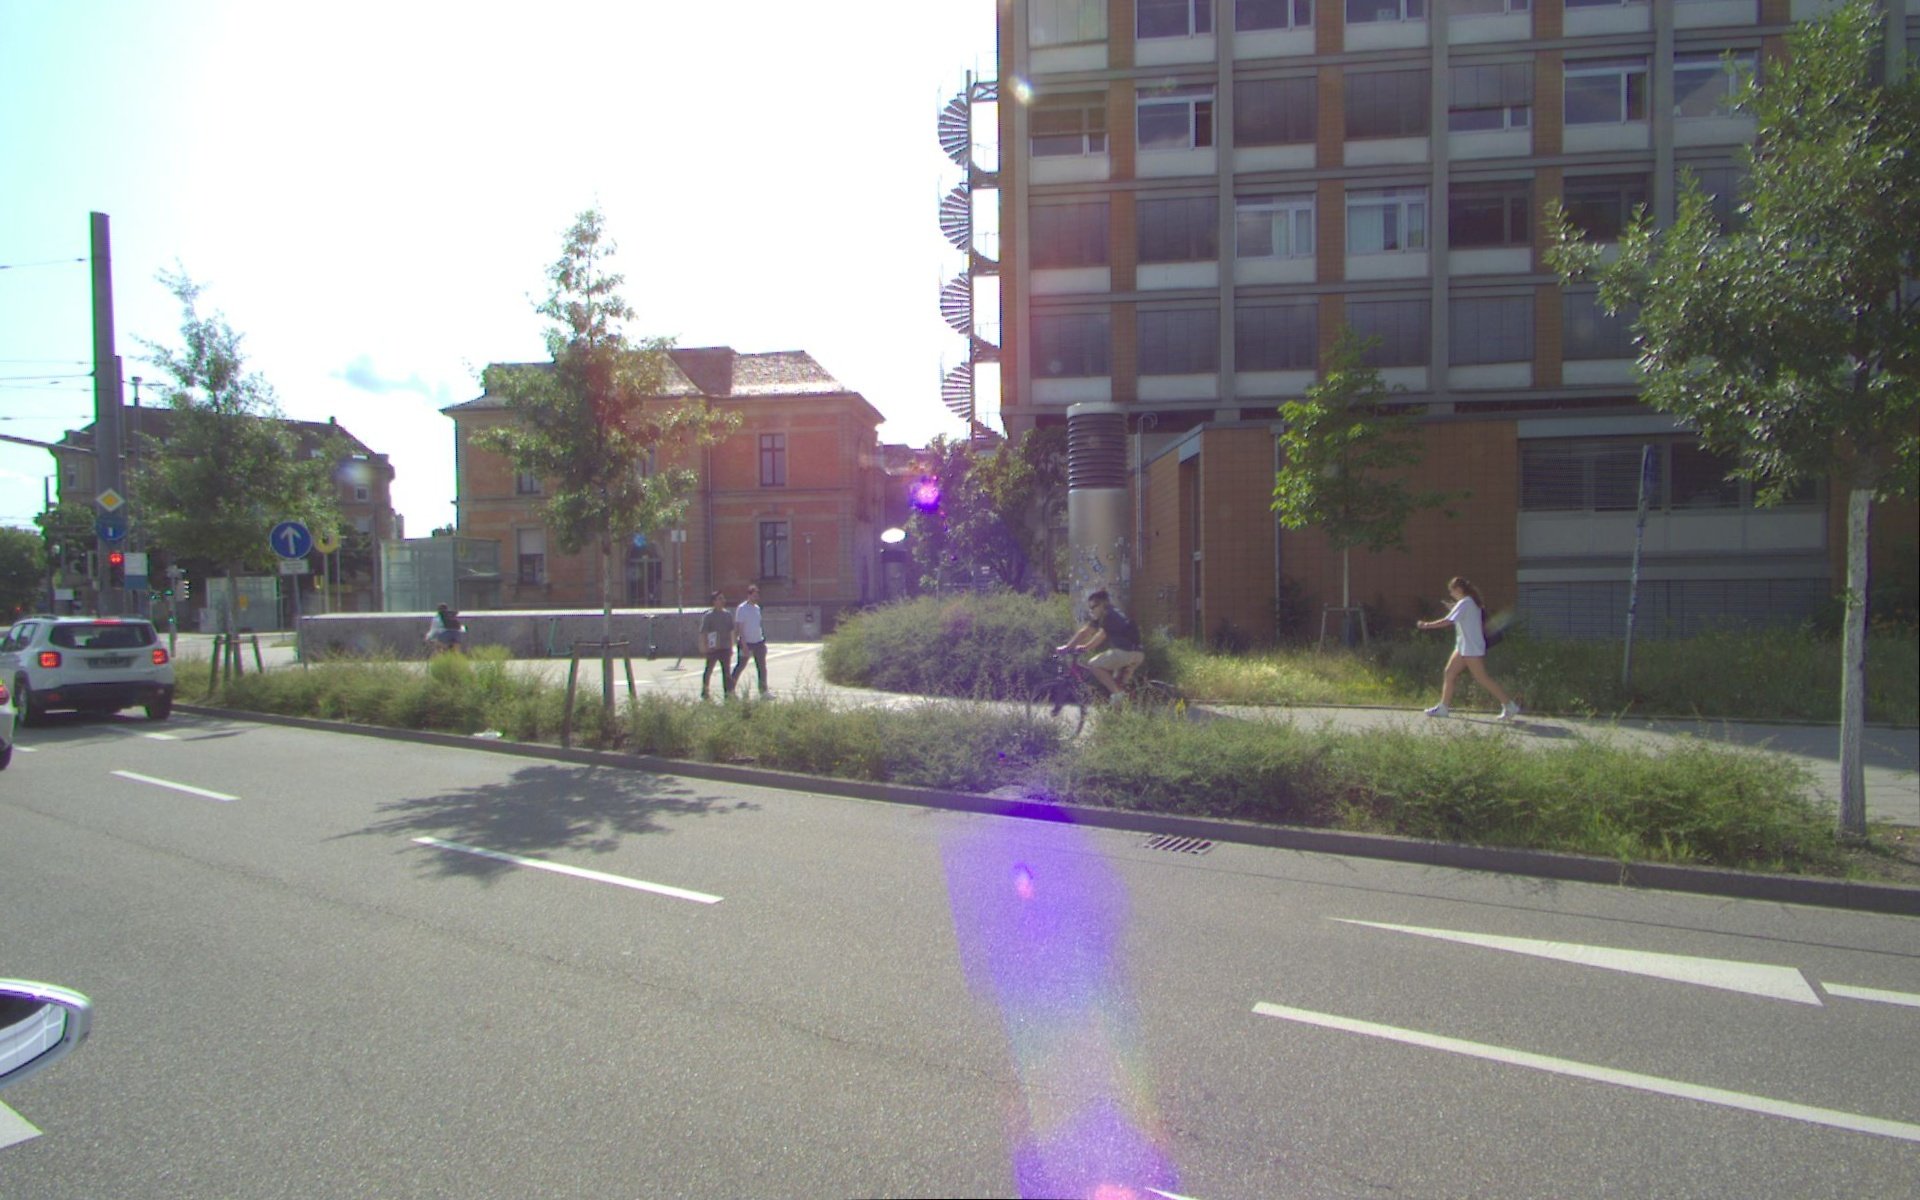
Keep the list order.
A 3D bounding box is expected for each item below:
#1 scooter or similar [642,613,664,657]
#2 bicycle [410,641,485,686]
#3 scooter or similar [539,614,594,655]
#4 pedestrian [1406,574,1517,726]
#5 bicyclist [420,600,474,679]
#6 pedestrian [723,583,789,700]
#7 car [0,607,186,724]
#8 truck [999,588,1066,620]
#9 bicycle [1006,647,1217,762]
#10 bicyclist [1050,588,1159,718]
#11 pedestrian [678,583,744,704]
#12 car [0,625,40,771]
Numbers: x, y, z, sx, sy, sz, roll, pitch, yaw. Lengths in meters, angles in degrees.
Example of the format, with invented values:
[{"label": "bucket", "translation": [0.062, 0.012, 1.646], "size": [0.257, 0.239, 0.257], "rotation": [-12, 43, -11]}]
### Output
[{"label": "scooter or similar", "translation": [-8.344, 0.944, 27.240], "size": [0.457, 1.119, 1.316], "rotation": [-1, 1, -13]}, {"label": "bicycle", "translation": [-9.871, 1.208, 19.269], "size": [1.599, 0.786, 0.583], "rotation": [-1, 0, 34]}, {"label": "scooter or similar", "translation": [-11.256, 0.985, 28.619], "size": [1.420, 1.133, 0.465], "rotation": [0, 2, 13]}, {"label": "pedestrian", "translation": [5.742, 0.554, 11.461], "size": [1.080, 1.645, 0.612], "rotation": [-1, 3, 31]}, {"label": "bicyclist", "translation": [-9.874, 0.747, 19.270], "size": [0.763, 1.470, 0.606], "rotation": [0, 0, 33]}, {"label": "pedestrian", "translation": [-3.246, 0.639, 15.914], "size": [0.733, 1.770, 0.885], "rotation": [-3, 3, -28]}, {"label": "car", "translation": [-14.378, 1.003, 16.394], "size": [3.951, 1.673, 1.829], "rotation": [-2, -1, 39]}, {"label": "truck", "translation": [4.909, 0.280, 67.501], "size": [4.304, 2.039, 2.000], "rotation": [0, -2, 11]}, {"label": "bicycle", "translation": [1.527, 1.016, 10.169], "size": [1.932, 0.983, 0.845], "rotation": [-1, 3, 31]}, {"label": "bicyclist", "translation": [1.469, 0.512, 10.162], "size": [0.910, 1.237, 0.633], "rotation": [0, 3, 31]}, {"label": "pedestrian", "translation": [-3.874, 0.646, 15.544], "size": [0.733, 1.778, 0.885], "rotation": [-3, 3, -27]}, {"label": "car", "translation": [-11.324, 0.994, 10.474], "size": [3.631, 1.437, 1.844], "rotation": [-1, -1, 36]}]
